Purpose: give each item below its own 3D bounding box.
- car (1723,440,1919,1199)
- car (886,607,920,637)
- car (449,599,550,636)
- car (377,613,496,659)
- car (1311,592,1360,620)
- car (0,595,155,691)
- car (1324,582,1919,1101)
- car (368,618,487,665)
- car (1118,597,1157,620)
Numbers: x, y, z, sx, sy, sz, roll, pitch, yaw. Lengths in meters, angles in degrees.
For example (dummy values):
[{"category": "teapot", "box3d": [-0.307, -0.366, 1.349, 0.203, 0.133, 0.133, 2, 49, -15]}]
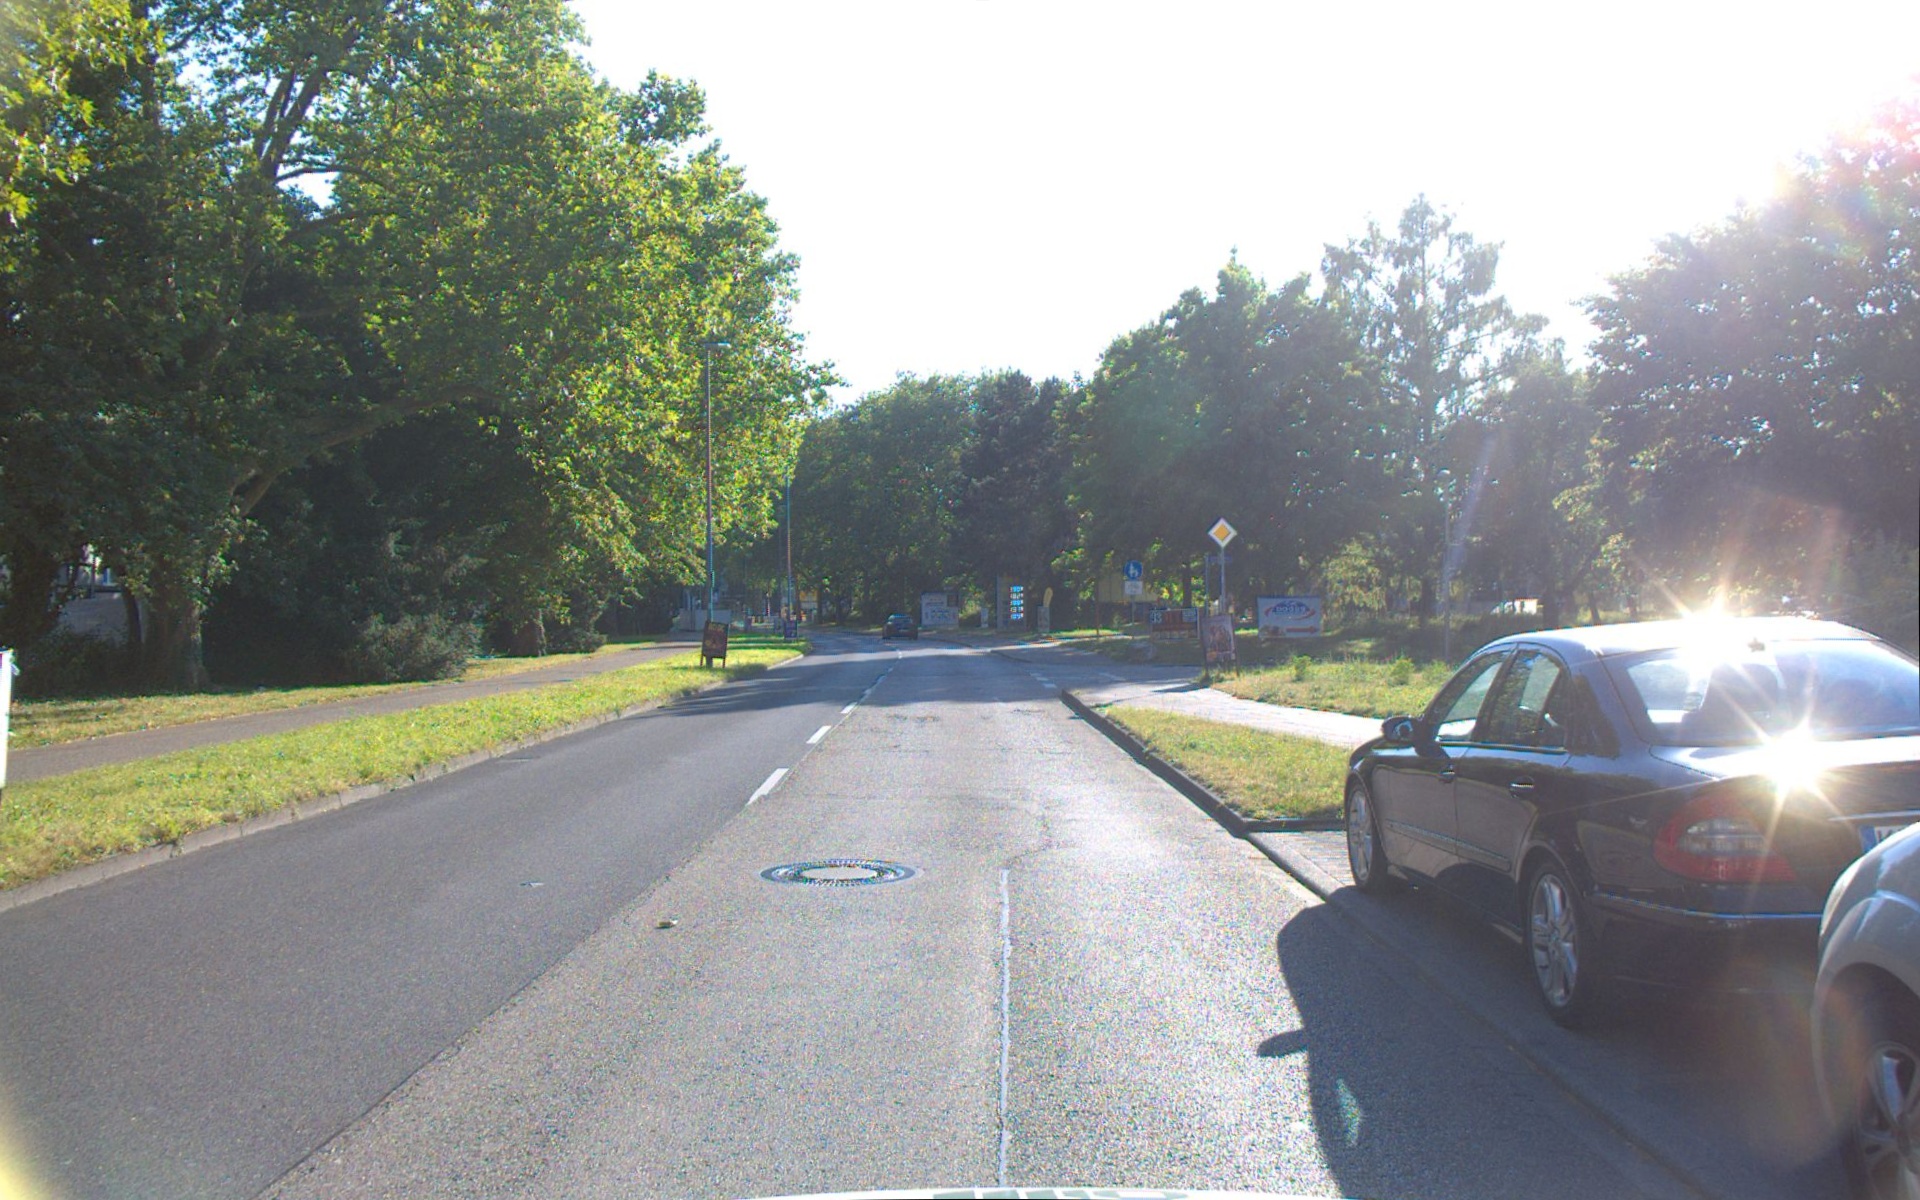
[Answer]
[{"category": "car", "box3d": [3.165, 0.504, 2.200, 1.953, 1.790, 4.916, -1, 0, -1]}, {"category": "car", "box3d": [-3.244, 1.260, 94.964, 1.802, 1.633, 3.862, -2, 0, 0]}, {"category": "car", "box3d": [-19.702, 0.764, 70.908, 3.912, 1.534, 1.909, 0, -1, -8]}, {"category": "car", "box3d": [-20.063, 1.364, 63.500, 4.048, 1.624, 1.949, -1, 0, -10]}, {"category": "car", "box3d": [24.810, 0.361, 109.459, 1.778, 1.758, 4.391, -1, 1, -7]}, {"category": "car", "box3d": [-20.885, 0.959, 37.965, 3.913, 2.080, 1.905, 0, 1, -9]}, {"category": "car", "box3d": [3.064, 0.733, 7.405, 1.746, 1.542, 4.688, -2, 0, -1]}, {"category": "car", "box3d": [-18.788, 1.456, 58.457, 3.654, 1.526, 1.812, -1, 0, -5]}, {"category": "car", "box3d": [11.512, 0.526, 107.596, 1.805, 1.445, 3.996, -1, 0, -5]}]
